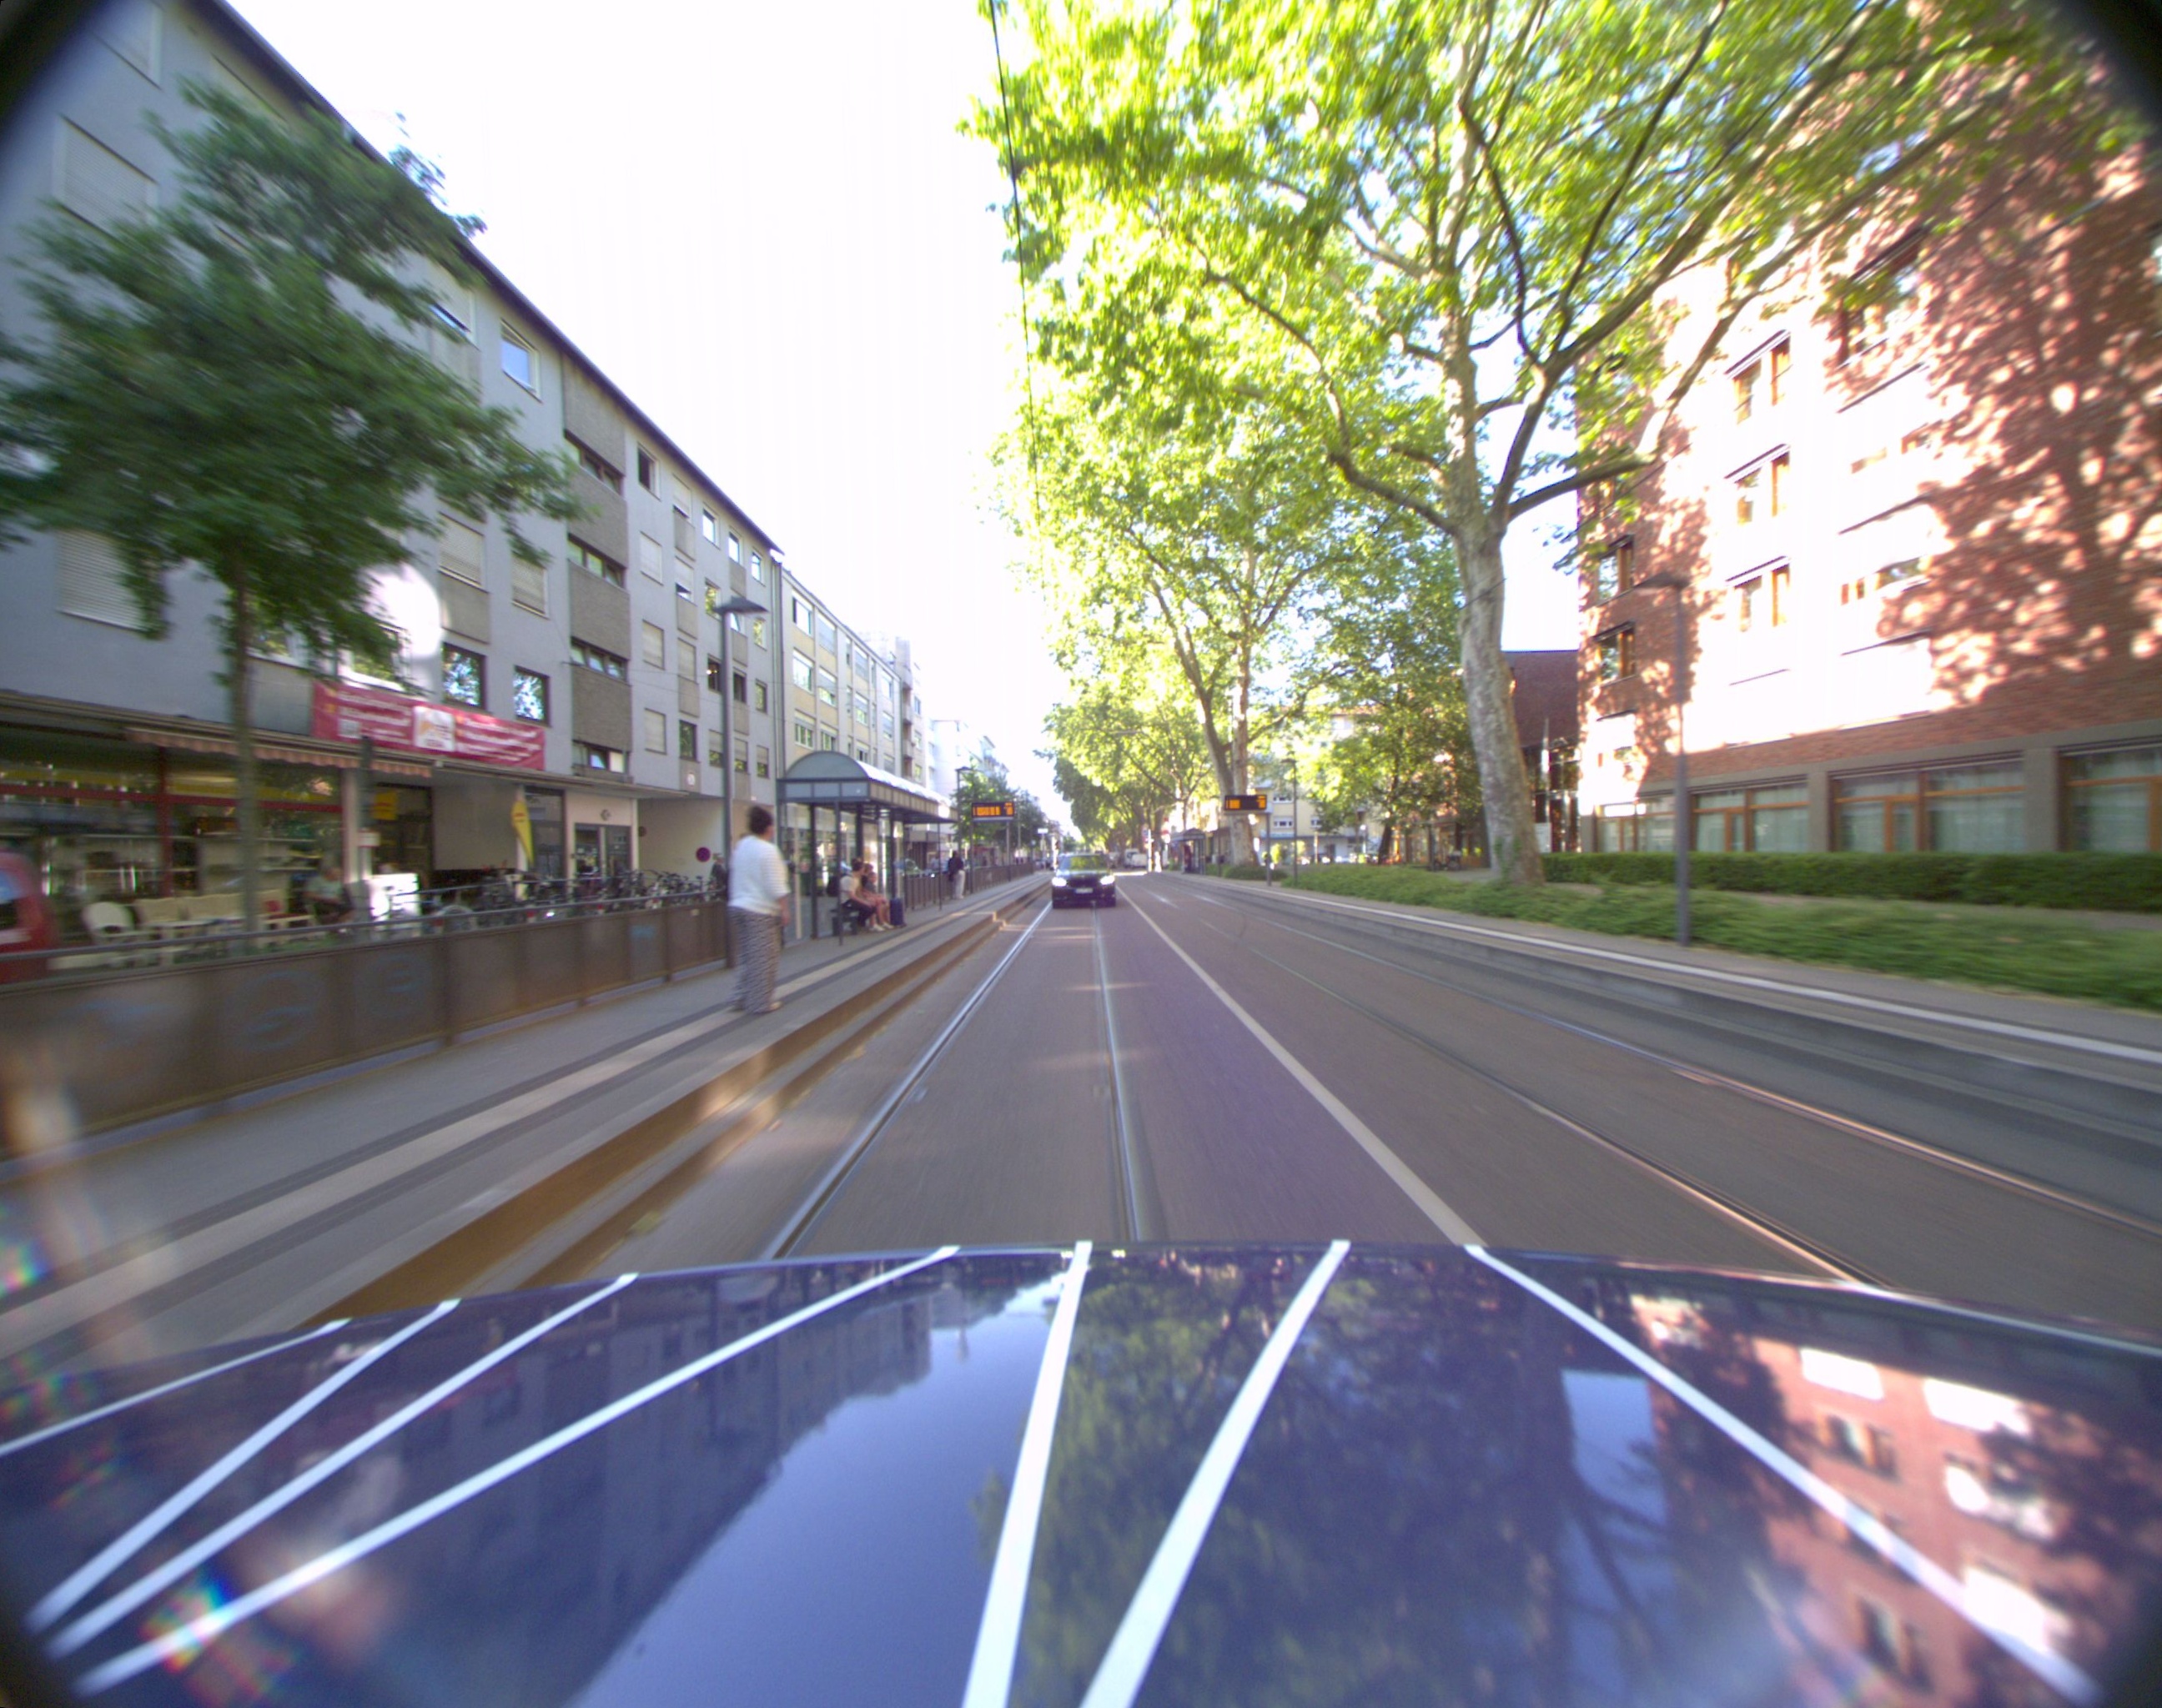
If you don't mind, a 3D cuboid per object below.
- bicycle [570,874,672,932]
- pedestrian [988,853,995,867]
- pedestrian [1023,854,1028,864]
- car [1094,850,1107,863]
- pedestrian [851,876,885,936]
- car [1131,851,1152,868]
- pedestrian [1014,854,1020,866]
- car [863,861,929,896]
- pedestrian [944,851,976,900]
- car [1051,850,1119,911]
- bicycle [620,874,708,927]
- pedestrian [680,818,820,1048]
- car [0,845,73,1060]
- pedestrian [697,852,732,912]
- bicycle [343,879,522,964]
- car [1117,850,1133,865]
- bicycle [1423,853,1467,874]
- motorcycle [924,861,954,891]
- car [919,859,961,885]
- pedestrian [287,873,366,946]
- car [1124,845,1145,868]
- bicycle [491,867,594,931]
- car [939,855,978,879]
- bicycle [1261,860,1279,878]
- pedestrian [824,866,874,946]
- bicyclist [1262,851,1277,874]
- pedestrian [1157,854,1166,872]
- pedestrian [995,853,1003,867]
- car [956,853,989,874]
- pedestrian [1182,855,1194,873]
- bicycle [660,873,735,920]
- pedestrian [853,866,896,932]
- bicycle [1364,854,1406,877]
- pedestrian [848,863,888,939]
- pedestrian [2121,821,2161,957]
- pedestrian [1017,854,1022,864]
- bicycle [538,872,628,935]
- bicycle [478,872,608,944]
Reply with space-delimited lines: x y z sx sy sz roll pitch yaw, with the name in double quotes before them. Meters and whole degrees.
"bicycle" -10.652 1.085 17.753 0.773 1.173 2.782 4 -1 -4
"pedestrian" -11.232 0.765 95.218 0.752 1.645 0.970 -2 1 -1
"pedestrian" -9.366 0.854 128.341 0.685 1.645 0.837 -2 1 -1
"car" 3.616 0.499 141.145 2.142 2.274 4.965 -3 0 0
"pedestrian" -3.926 0.952 14.047 0.522 1.049 0.425 -2 1 -10
"car" 7.351 0.649 93.081 2.041 1.881 5.072 -3 0 0
"pedestrian" -8.478 0.791 100.424 0.752 1.645 0.970 -2 1 -1
"car" -9.349 1.196 38.790 1.958 1.474 4.660 -3 0 3
"pedestrian" -4.007 0.700 25.196 0.648 1.567 0.855 -2 1 19
"car" 0.139 0.764 25.118 1.937 1.718 5.072 -3 0 1
"bicycle" -10.532 1.139 19.324 0.773 1.173 2.782 4 -1 -4
"pedestrian" -2.662 0.588 6.108 0.834 1.703 0.641 -1 1 38
"car" -9.598 0.838 4.472 1.693 1.745 4.173 -2 0 -1
"pedestrian" -11.419 0.869 23.674 0.773 1.794 0.679 -3 2 -15
"bicycle" -10.907 1.074 12.975 0.773 1.173 2.782 2 0 -4
"car" 7.011 0.495 121.247 2.142 2.274 4.965 -3 0 0
"bicycle" 20.290 0.543 42.379 0.823 1.088 2.033 -3 1 -37
"motorcycle" -7.280 1.093 39.115 1.054 1.446 2.208 -2 1 1
"car" -9.061 1.153 49.203 1.899 1.477 4.000 -2 0 1
"pedestrian" -13.106 0.951 13.221 0.680 1.198 0.648 -2 1 -10
"car" 7.197 0.318 103.261 2.429 2.833 5.072 -3 0 0
"bicycle" -11.417 0.915 16.245 0.774 1.173 2.779 4 -1 -14
"car" -8.778 0.916 54.697 1.998 1.572 4.000 -2 0 1
"bicycle" 12.519 0.971 50.346 0.748 1.088 2.039 -2 0 3
"pedestrian" -4.006 0.886 13.134 0.721 1.318 0.493 -2 1 -10
"bicyclist" 12.483 0.542 50.305 0.735 1.506 0.892 -2 1 3
"pedestrian" 7.266 0.815 68.937 0.708 1.584 0.561 -2 1 2
"pedestrian" -9.835 0.740 90.902 0.752 1.645 0.970 -2 1 -1
"car" -8.800 0.720 61.753 1.998 1.583 4.000 -2 0 1
"pedestrian" 7.206 0.692 51.092 0.708 1.197 0.473 -2 1 2
"bicycle" -10.738 1.154 21.418 0.773 1.173 2.782 4 -1 -4
"pedestrian" -3.935 0.852 14.535 0.680 1.198 0.648 -2 1 -10
"bicycle" 17.020 0.651 42.594 2.098 1.182 0.882 -2 1 17
"pedestrian" -3.820 0.827 13.653 0.586 1.297 0.526 -3 1 -10
"pedestrian" 14.199 0.436 9.604 0.765 1.733 0.972 -2 1 1
"pedestrian" -10.321 0.889 128.280 0.685 1.645 0.837 -2 1 -1
"bicycle" -10.918 1.043 16.801 0.774 1.173 2.779 4 -1 -15
"bicycle" -10.912 1.047 15.590 0.773 1.173 2.781 4 1 -4
